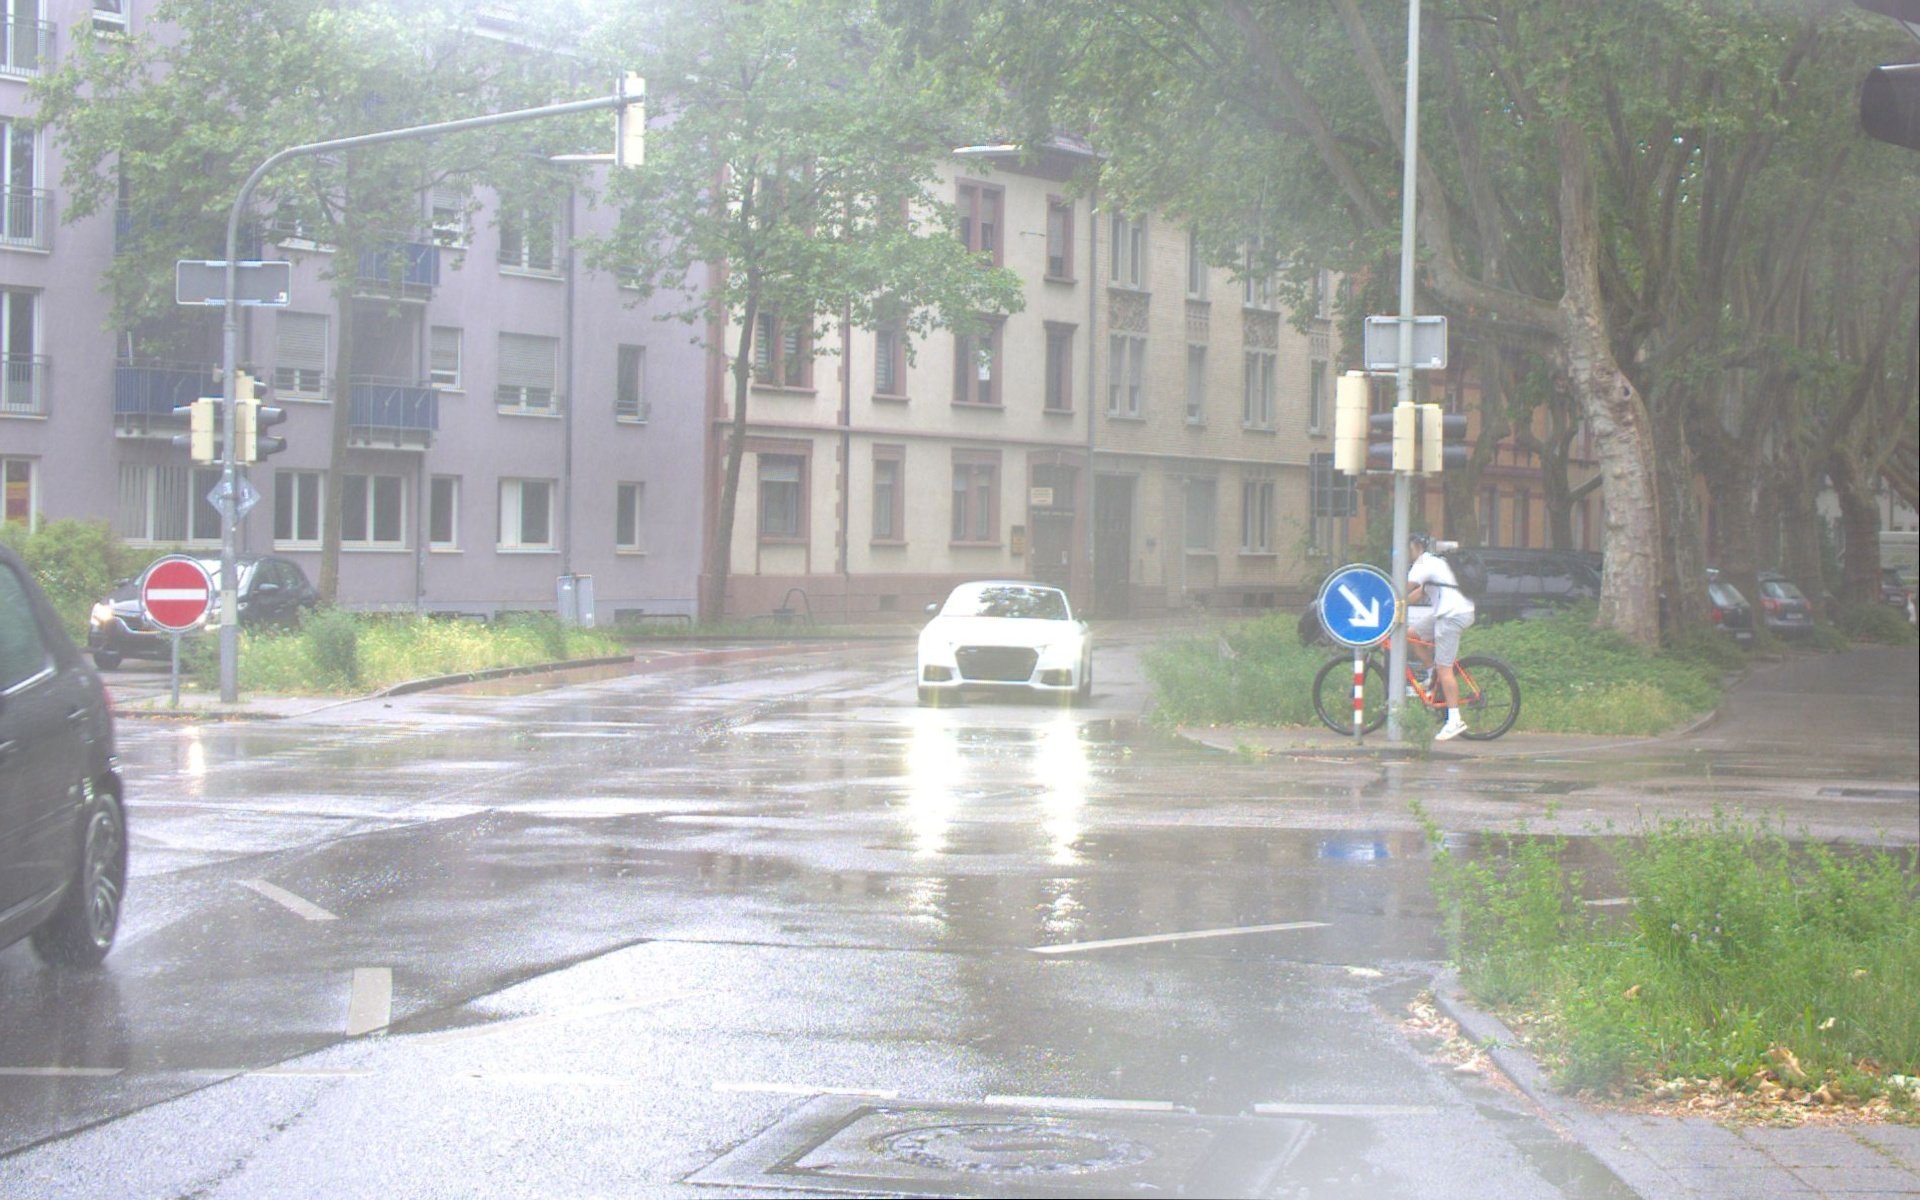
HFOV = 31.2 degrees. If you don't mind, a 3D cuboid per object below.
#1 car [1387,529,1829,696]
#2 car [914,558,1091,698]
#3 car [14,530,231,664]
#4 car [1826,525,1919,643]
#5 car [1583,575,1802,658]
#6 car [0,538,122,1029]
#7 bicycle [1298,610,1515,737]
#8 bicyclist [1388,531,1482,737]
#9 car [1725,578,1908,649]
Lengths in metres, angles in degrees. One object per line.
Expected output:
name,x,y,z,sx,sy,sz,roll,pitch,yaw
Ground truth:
car,6.164,0.099,32.705,3.989,1.481,1.999,1,1,12
car,0.512,0.280,39.102,1.884,1.431,4.000,1,1,1
car,-10.051,-0.071,41.498,1.751,1.506,3.839,1,1,-2
car,24.387,-0.420,87.718,2.033,2.938,4.773,1,1,-21
car,13.938,0.301,65.476,3.989,1.481,1.999,1,1,12
car,-3.679,0.535,9.820,1.714,1.454,3.748,1,1,-1
bicycle,3.944,0.641,30.398,1.873,1.077,0.657,1,0,8
bicyclist,4.192,0.294,30.364,0.795,1.780,0.697,1,0,8
car,19.567,0.302,78.656,3.989,1.542,1.999,1,1,12
